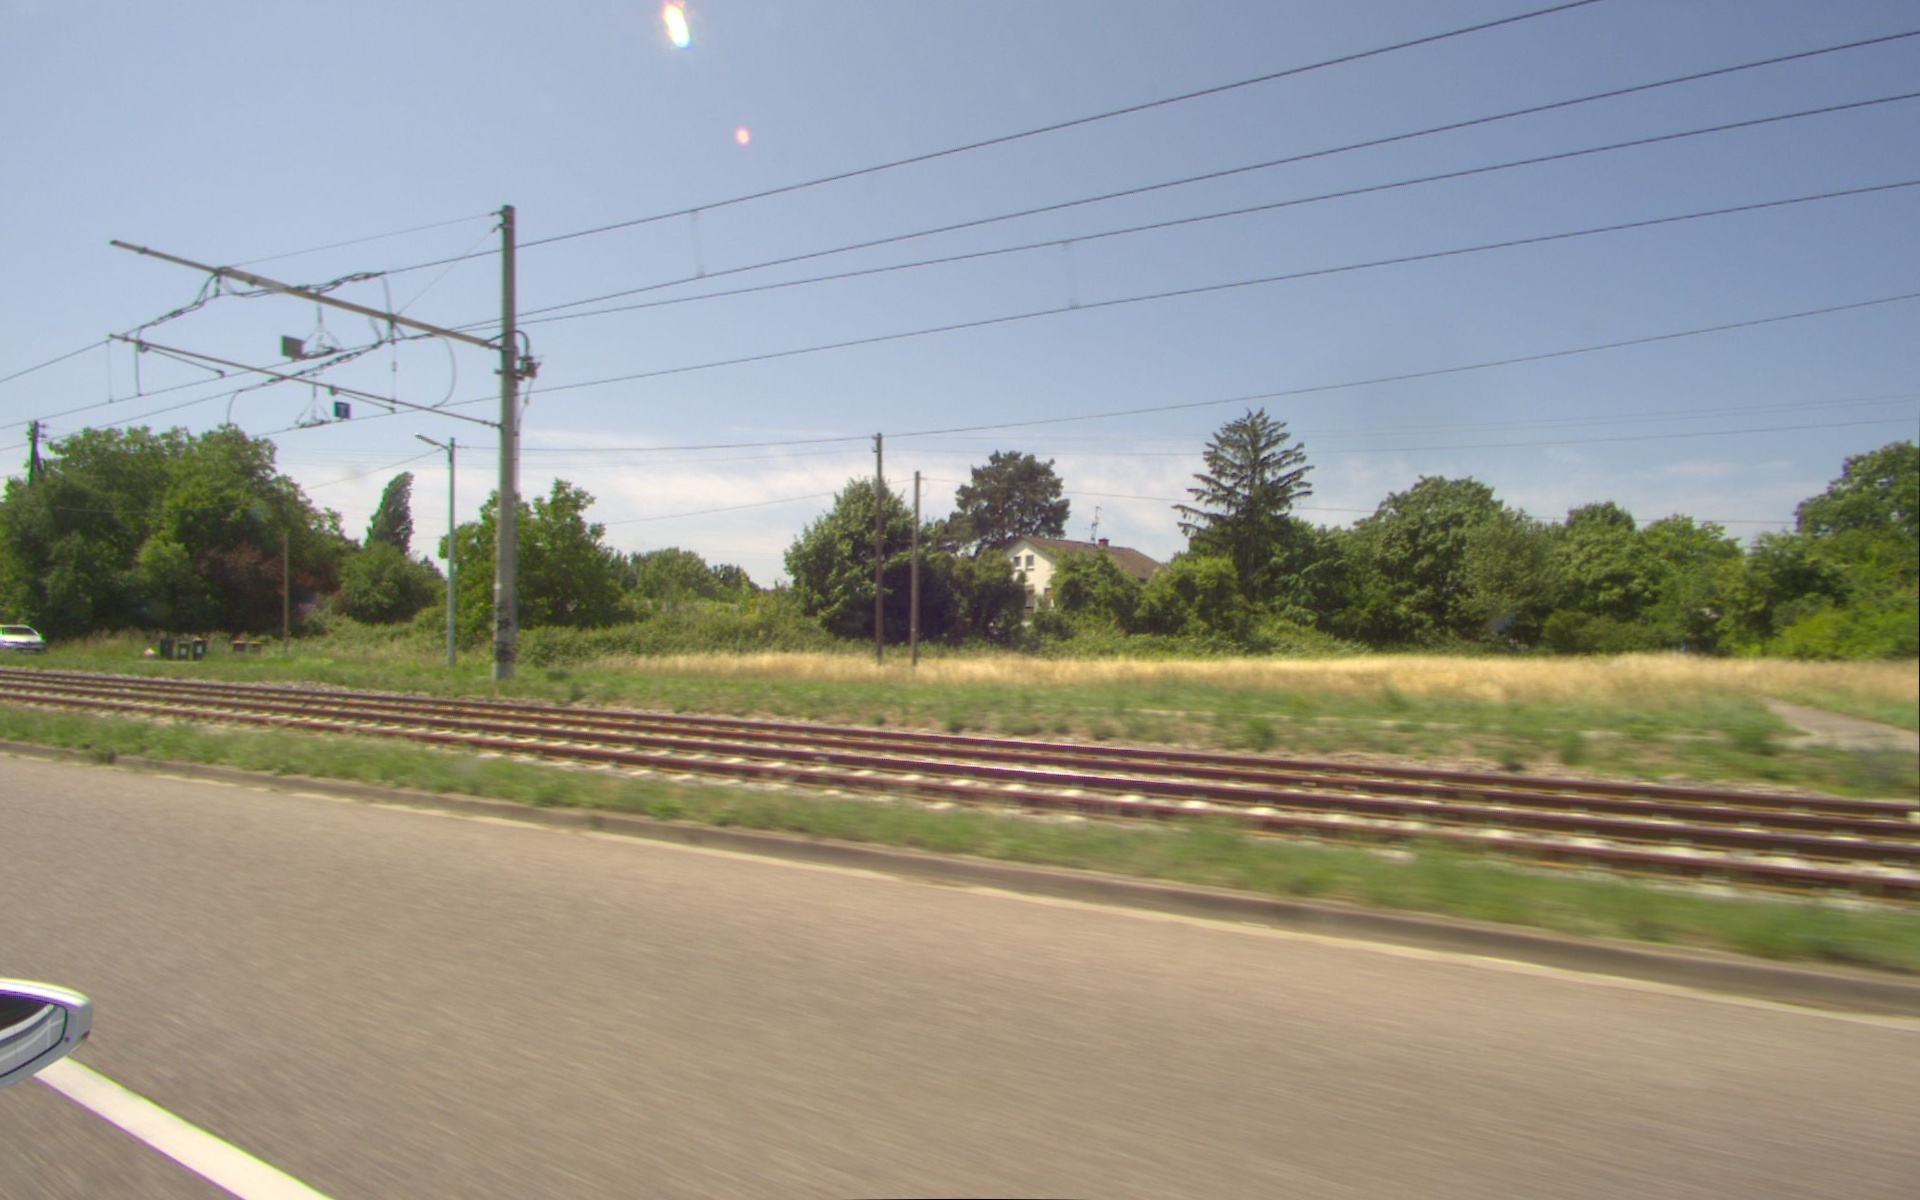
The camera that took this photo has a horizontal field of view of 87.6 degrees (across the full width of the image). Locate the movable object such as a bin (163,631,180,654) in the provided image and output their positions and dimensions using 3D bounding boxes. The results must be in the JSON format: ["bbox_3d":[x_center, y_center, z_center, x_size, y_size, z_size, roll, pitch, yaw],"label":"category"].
[{"bbox_3d":[-37.039,2.013,47.020,0.494,1.063,0.522,0,-2,42],"label":"movable object such as a bin"}]

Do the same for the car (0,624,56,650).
[{"bbox_3d":[-44.668,1.741,47.662,3.032,1.194,1.561,0,-2,29],"label":"car"}]

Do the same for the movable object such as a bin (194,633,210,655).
[{"bbox_3d":[-36.226,2.099,47.846,0.494,1.063,0.522,0,-2,42],"label":"movable object such as a bin"}]

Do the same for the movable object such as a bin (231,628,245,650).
[{"bbox_3d":[-35.179,1.880,48.815,0.494,1.063,0.446,0,-2,43],"label":"movable object such as a bin"}]

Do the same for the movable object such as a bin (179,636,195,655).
[{"bbox_3d":[-36.644,2.158,47.451,0.494,0.875,0.522,0,-2,42],"label":"movable object such as a bin"}]

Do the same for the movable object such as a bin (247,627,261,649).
[{"bbox_3d":[-34.720,1.885,49.250,0.494,1.063,0.446,0,-2,43],"label":"movable object such as a bin"}]
